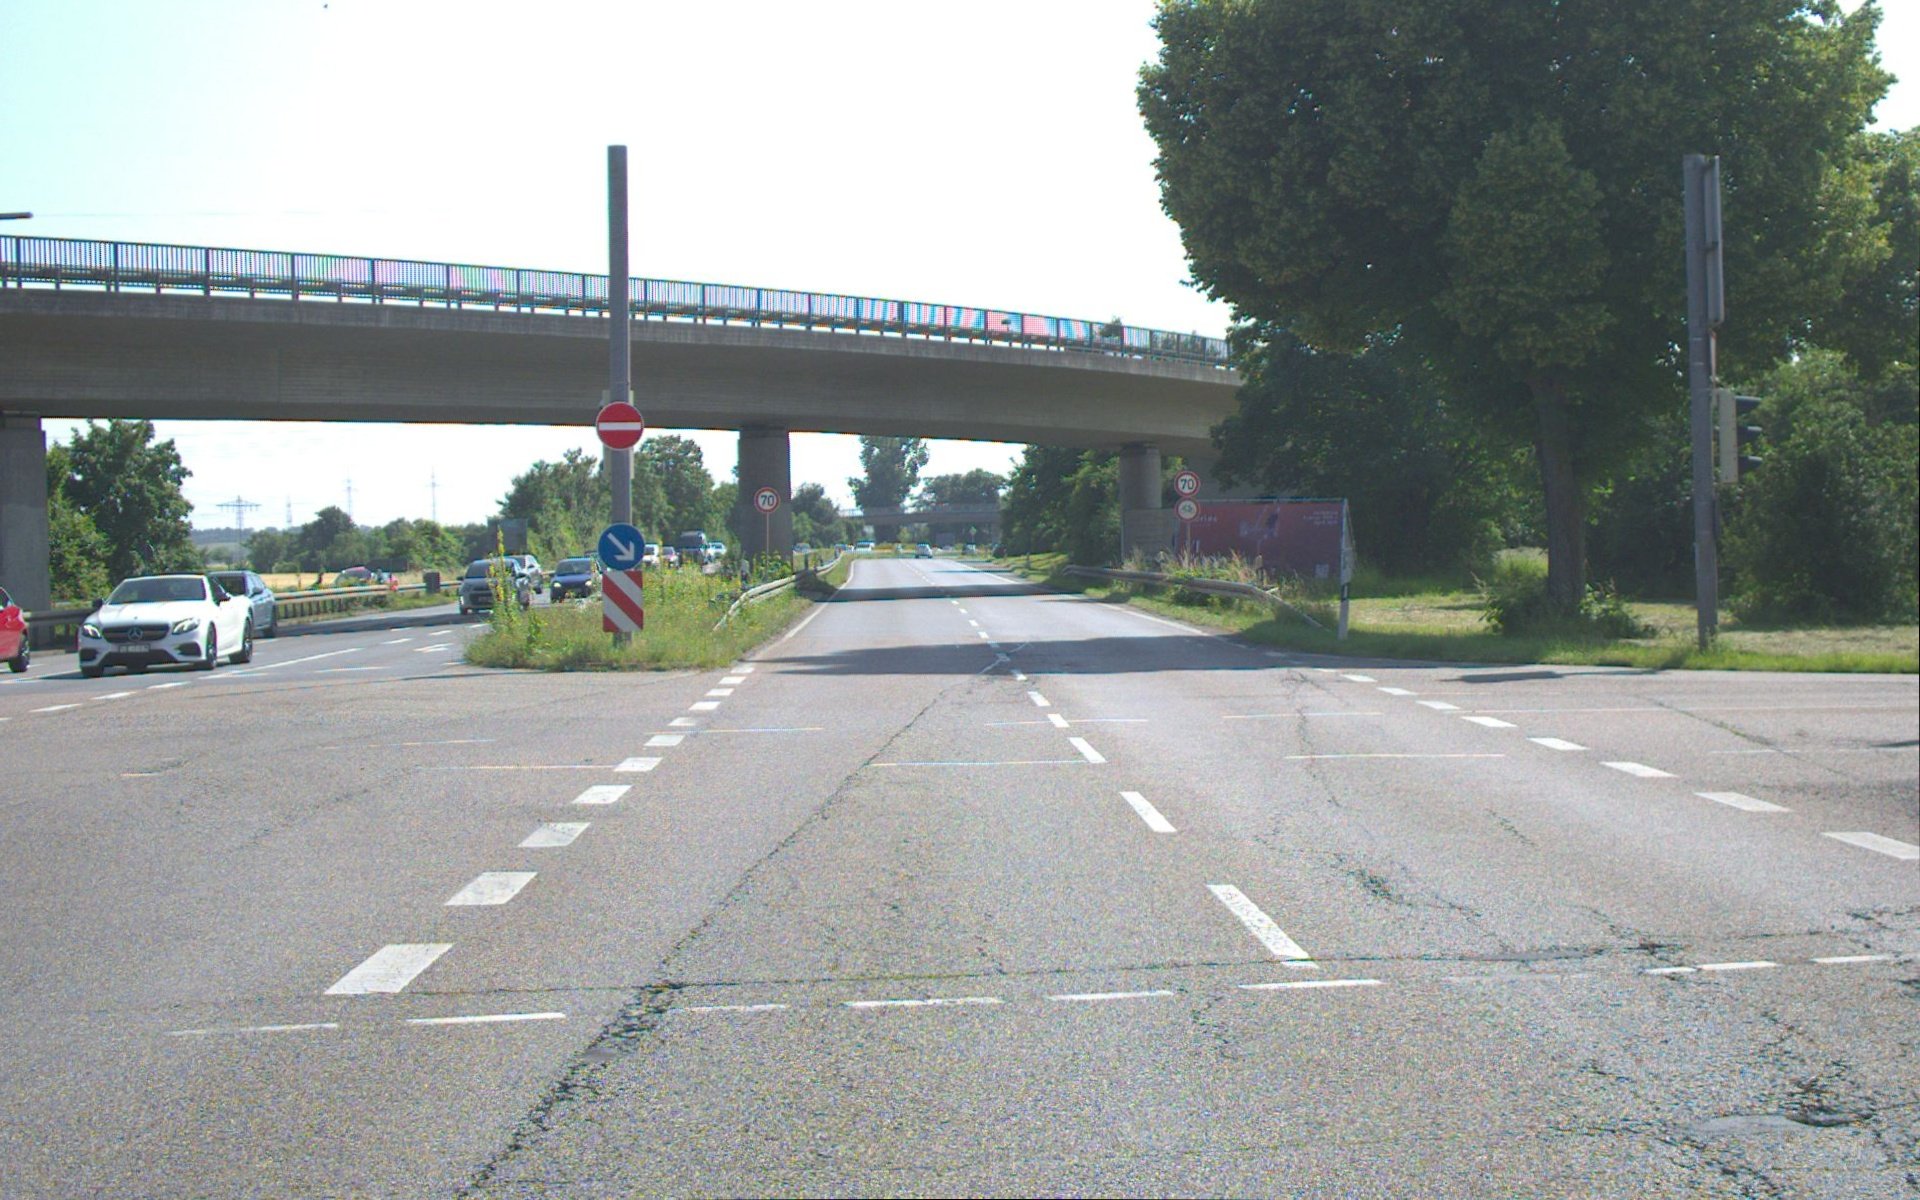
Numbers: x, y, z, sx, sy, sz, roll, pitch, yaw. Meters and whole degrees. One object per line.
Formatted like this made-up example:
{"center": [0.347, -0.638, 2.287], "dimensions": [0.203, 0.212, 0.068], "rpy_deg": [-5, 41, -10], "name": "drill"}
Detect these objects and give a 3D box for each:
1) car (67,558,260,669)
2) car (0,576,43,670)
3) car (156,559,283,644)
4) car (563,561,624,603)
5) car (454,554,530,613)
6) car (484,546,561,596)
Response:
{"center": [-11.672, 0.168, 50.645], "dimensions": [1.856, 1.443, 4.241], "rpy_deg": [-3, 1, -1], "name": "car"}
{"center": [-15.200, 0.371, 51.879], "dimensions": [1.640, 1.380, 4.241], "rpy_deg": [-2, 1, -1], "name": "car"}
{"center": [-15.172, 0.008, 70.631], "dimensions": [1.790, 1.622, 4.000], "rpy_deg": [-2, 1, -2], "name": "car"}
{"center": [-11.853, -0.602, 111.212], "dimensions": [1.557, 1.254, 4.000], "rpy_deg": [-2, 1, -1], "name": "car"}
{"center": [-12.884, -0.472, 94.823], "dimensions": [1.557, 1.535, 4.000], "rpy_deg": [-2, 1, -1], "name": "car"}
{"center": [-18.595, -1.259, 146.293], "dimensions": [1.994, 2.007, 3.998], "rpy_deg": [-2, 1, 11], "name": "car"}
